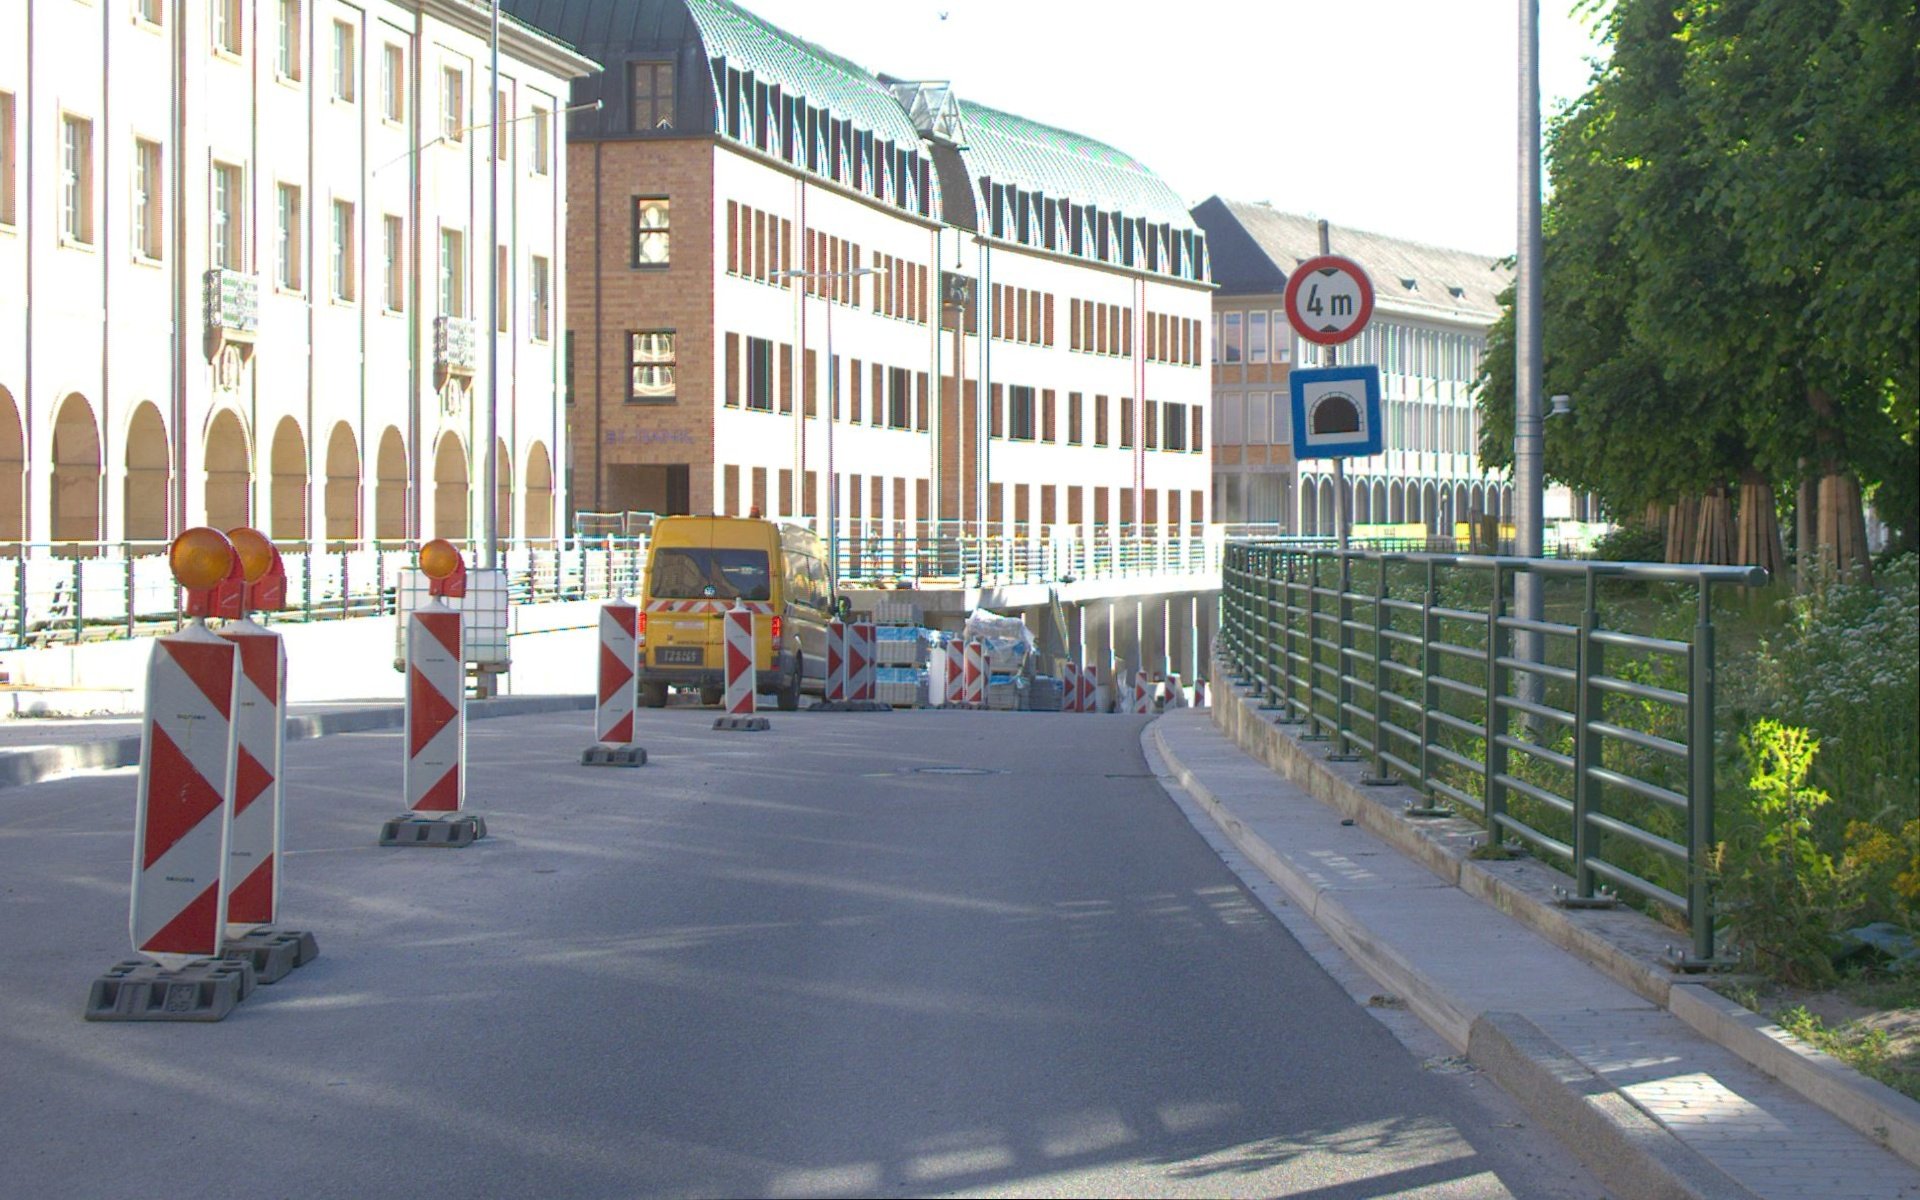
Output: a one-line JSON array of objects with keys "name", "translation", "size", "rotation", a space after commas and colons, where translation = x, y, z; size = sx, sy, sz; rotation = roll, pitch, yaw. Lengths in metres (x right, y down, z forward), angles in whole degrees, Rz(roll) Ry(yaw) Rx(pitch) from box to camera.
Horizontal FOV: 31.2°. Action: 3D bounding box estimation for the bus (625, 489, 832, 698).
[{"name": "bus", "translation": [-3.054, -0.048, 46.389], "size": [2.073, 2.677, 4.682], "rotation": [0, -1, 5]}]
